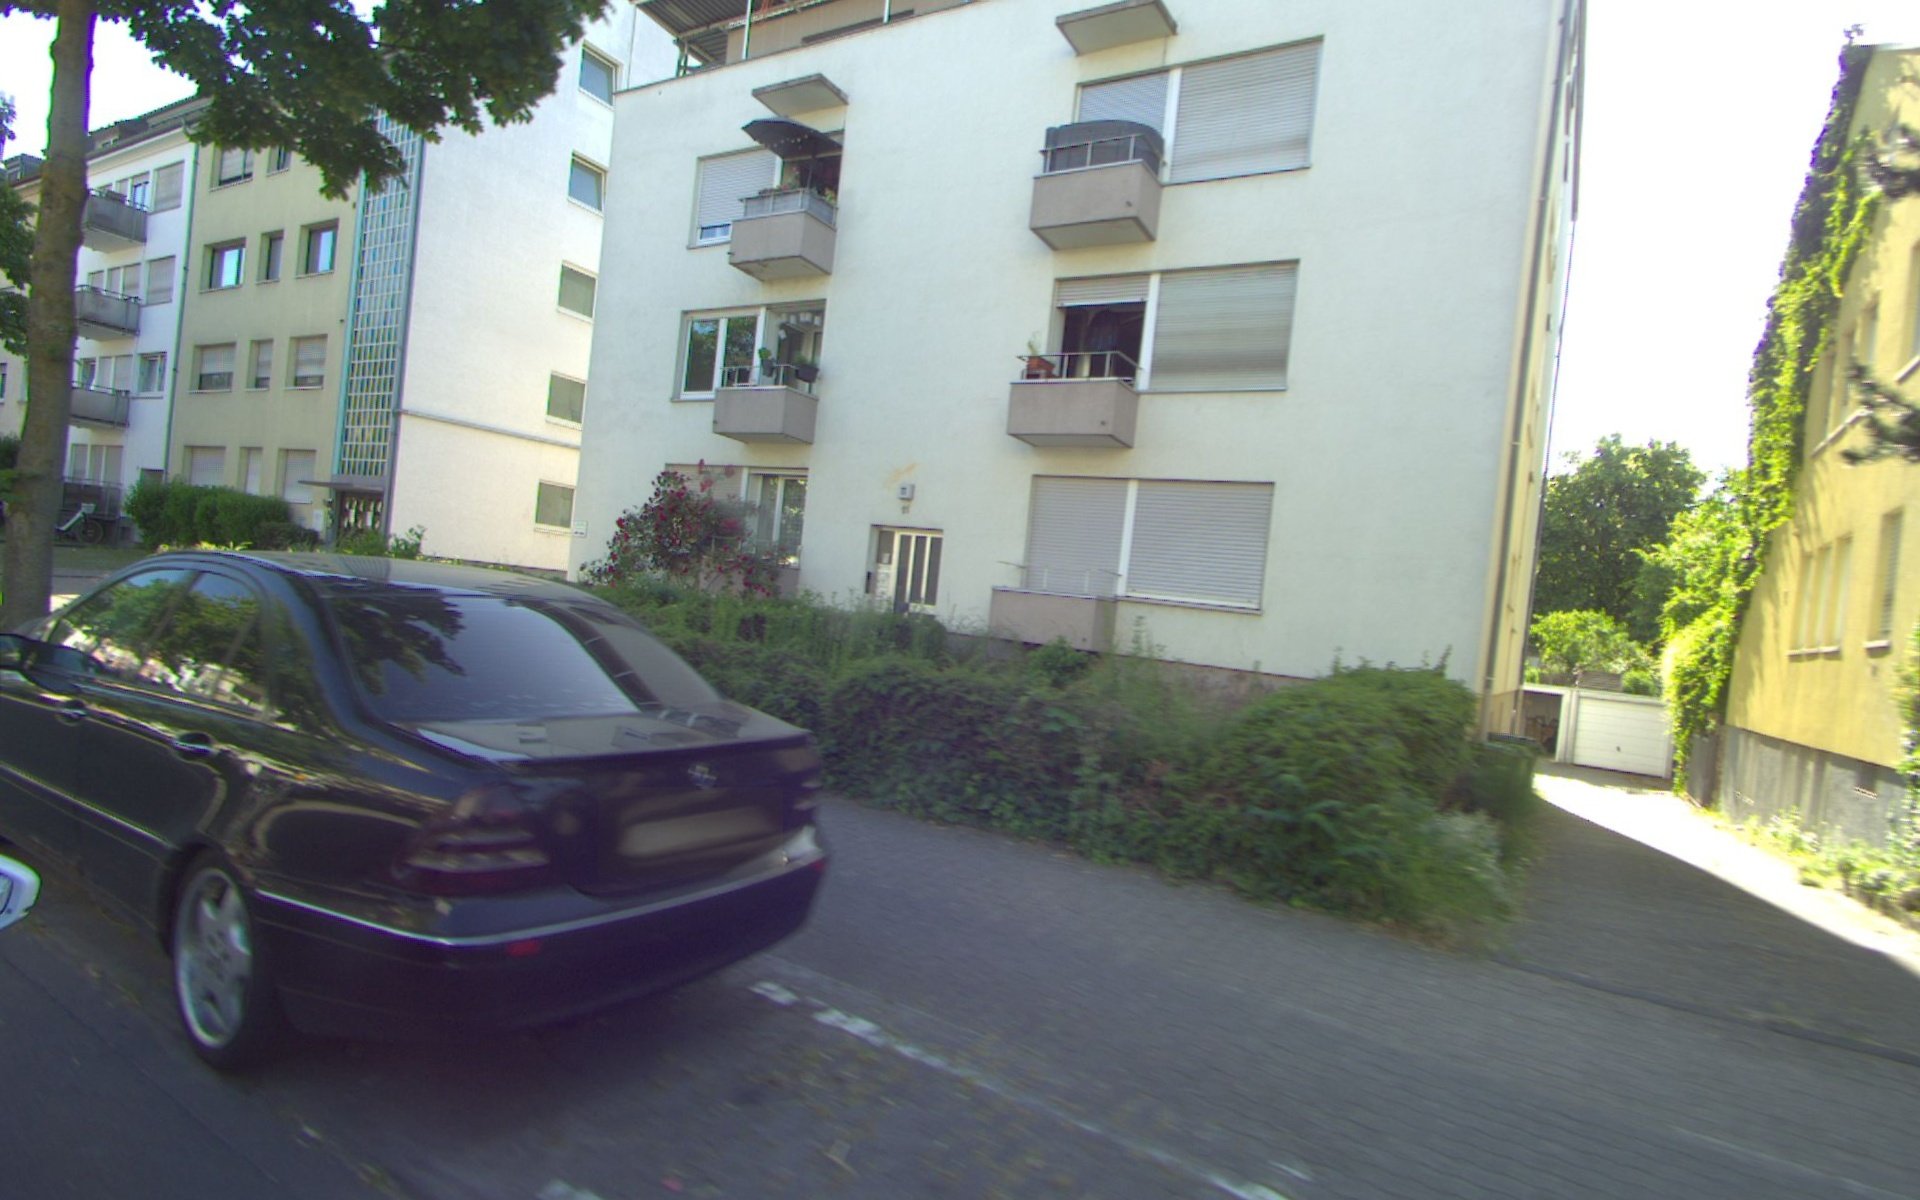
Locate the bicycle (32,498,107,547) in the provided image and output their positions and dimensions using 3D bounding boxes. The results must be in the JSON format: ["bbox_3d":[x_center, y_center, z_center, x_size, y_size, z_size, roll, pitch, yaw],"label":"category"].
[{"bbox_3d":[-25.795,-2.239,29.169,1.521,1.239,0.460,4,3,-28],"label":"bicycle"}]

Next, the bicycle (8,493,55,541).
[{"bbox_3d":[-27.631,-2.472,29.921,1.661,1.305,0.591,7,3,32],"label":"bicycle"}]

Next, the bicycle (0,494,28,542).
[{"bbox_3d":[-27.955,-2.439,29.382,1.812,1.305,0.623,7,3,32],"label":"bicycle"}]

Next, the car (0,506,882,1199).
[{"bbox_3d":[-2.588,0.479,4.019,4.381,1.414,1.586,6,2,32],"label":"car"}]
